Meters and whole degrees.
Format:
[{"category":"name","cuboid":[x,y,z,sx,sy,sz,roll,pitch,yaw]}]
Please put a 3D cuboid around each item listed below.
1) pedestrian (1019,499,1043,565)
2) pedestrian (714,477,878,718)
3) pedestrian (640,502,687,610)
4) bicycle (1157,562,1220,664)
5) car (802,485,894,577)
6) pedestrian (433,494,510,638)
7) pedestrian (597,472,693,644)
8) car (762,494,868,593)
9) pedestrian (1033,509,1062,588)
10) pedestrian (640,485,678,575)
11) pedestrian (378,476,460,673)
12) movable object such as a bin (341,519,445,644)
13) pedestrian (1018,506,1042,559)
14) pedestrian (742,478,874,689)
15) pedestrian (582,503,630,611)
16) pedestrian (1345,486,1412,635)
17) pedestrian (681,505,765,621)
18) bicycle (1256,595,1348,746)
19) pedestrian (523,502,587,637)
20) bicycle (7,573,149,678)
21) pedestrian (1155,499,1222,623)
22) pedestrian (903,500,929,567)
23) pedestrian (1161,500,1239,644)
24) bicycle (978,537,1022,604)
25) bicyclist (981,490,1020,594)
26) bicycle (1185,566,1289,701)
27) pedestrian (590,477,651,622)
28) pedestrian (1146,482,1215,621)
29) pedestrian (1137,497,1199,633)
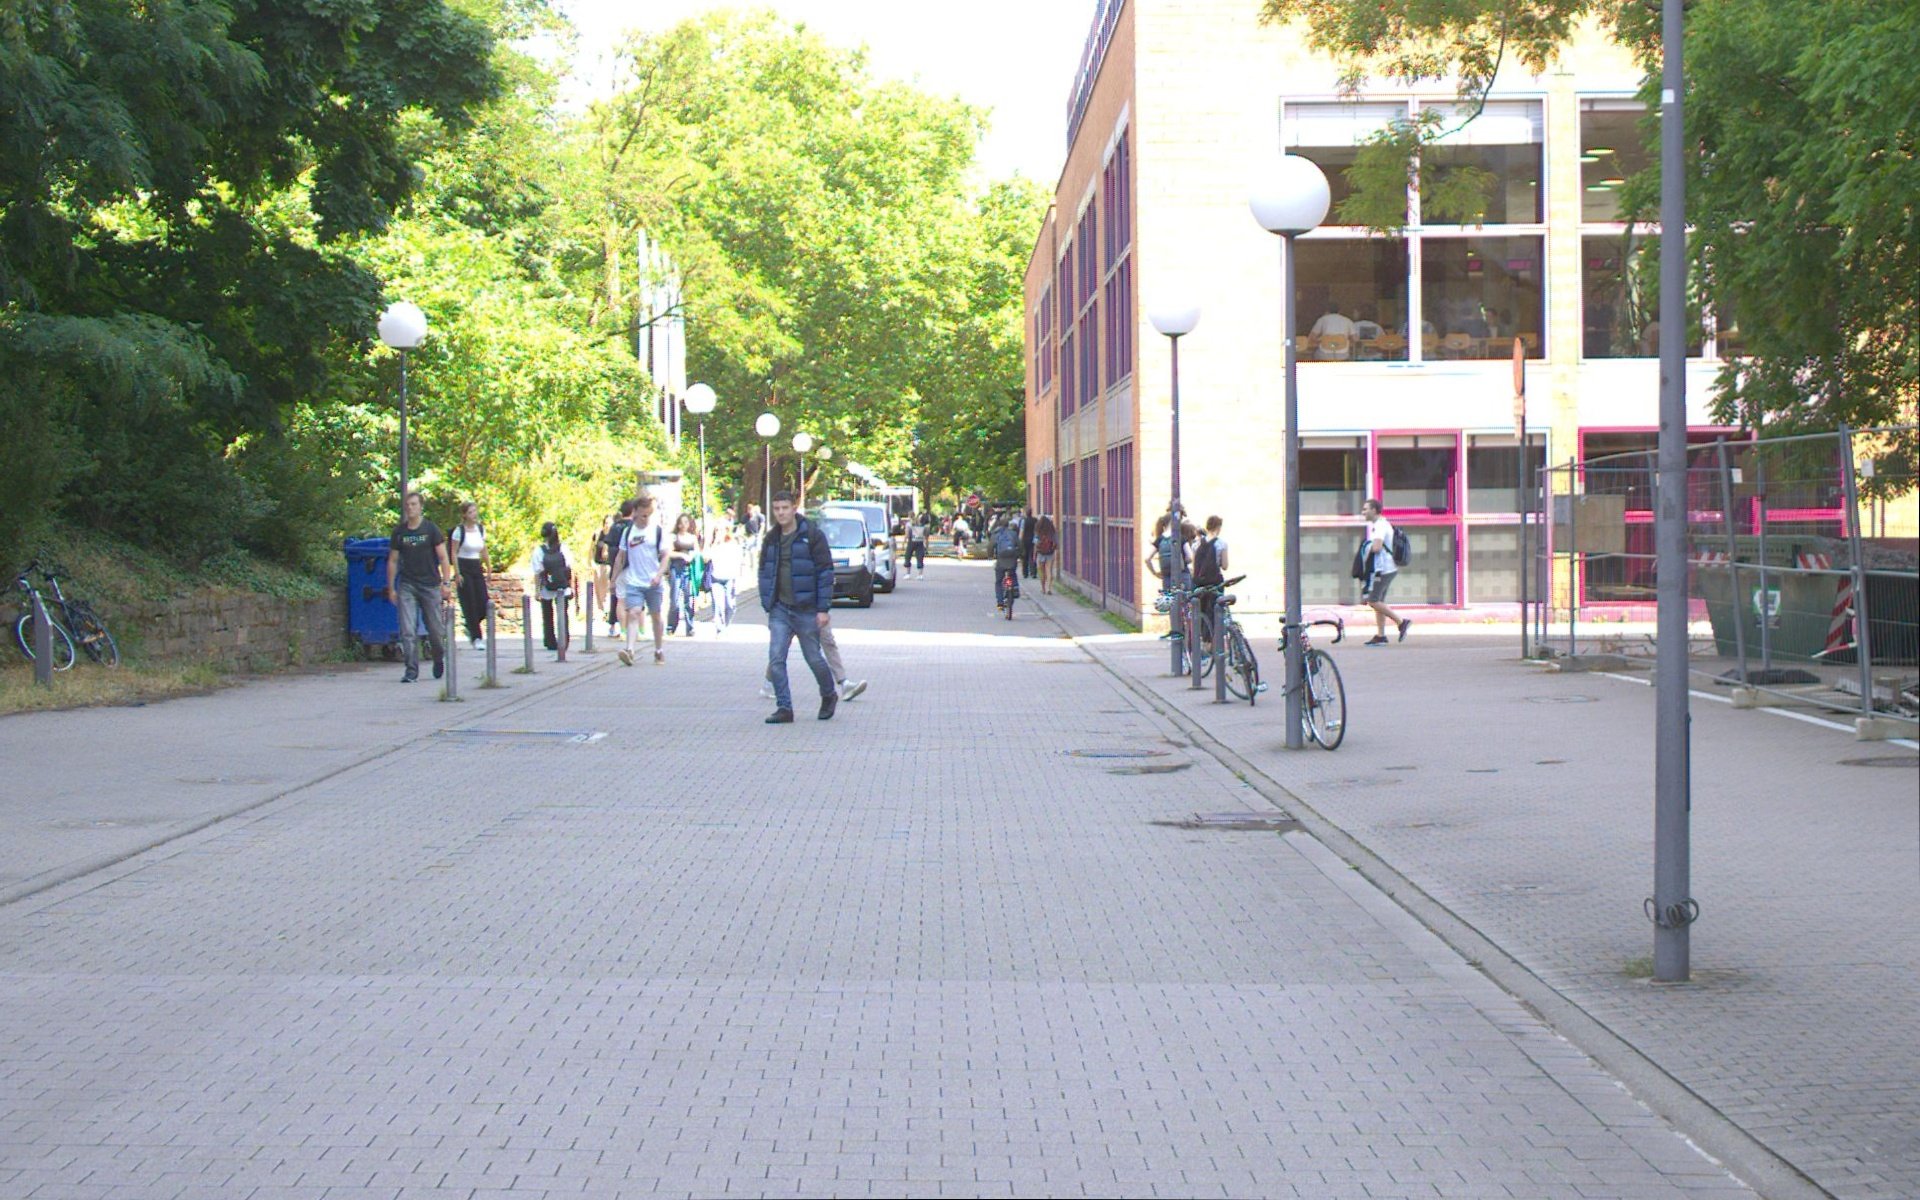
[{"category":"pedestrian","cuboid":[1.814,-1.745,88.102,0.586,1.667,0.817,-1,0,1]},{"category":"pedestrian","cuboid":[-1.290,-0.031,27.209,0.887,1.851,1.031,2,1,26]},{"category":"pedestrian","cuboid":[-4.479,-0.670,52.014,0.682,1.615,0.914,1,1,-5]},{"category":"bicycle","cuboid":[2.298,0.120,34.699,0.450,0.958,1.740,-3,1,-1]},{"category":"car","cuboid":[-2.426,-1.544,75.794,1.883,1.967,5.215,0,2,0]},{"category":"pedestrian","cuboid":[-5.913,-0.417,41.587,0.682,1.722,1.002,0,1,-22]},{"category":"pedestrian","cuboid":[-3.485,-0.470,38.128,0.724,1.875,1.082,1,1,14]},{"category":"car","cuboid":[-2.637,-1.066,63.505,1.790,1.755,4.482,0,2,0]},{"category":"pedestrian","cuboid":[1.891,-1.104,73.992,0.586,1.667,0.699,-1,0,1]},{"category":"pedestrian","cuboid":[-6.192,-1.431,70.751,0.682,1.838,0.783,1,0,0]},{"category":"pedestrian","cuboid":[-5.233,-0.248,33.313,0.682,1.866,1.121,1,1,-5]},{"category":"movable object such as a bin","cuboid":[-6.242,-0.214,37.891,0.709,1.332,1.239,3,2,10]},{"category":"pedestrian","cuboid":[2.236,-2.145,109.838,0.725,1.667,0.748,-1,0,1]},{"category":"pedestrian","cuboid":[-1.362,-0.158,30.650,0.783,1.839,1.118,1,1,-25]},{"category":"pedestrian","cuboid":[-5.341,-0.651,51.930,0.682,1.615,0.979,1,1,-5]},{"category":"pedestrian","cuboid":[5.109,-0.484,41.960,0.767,1.788,0.588,-1,0,7]},{"category":"pedestrian","cuboid":[-3.194,-0.498,46.287,0.740,1.537,0.889,1,0,-37]},{"category":"bicycle","cuboid":[2.315,0.462,23.389,0.395,0.932,1.732,-2,1,-1]},{"category":"pedestrian","cuboid":[-4.888,-0.366,41.465,0.569,1.605,0.918,0,1,-20]},{"category":"bicycle","cuboid":[-7.836,0.226,30.596,0.421,0.907,1.739,1,0,15]},{"category":"pedestrian","cuboid":[3.000,-0.514,45.183,0.780,1.615,0.685,1,0,-2]},{"category":"pedestrian","cuboid":[-1.119,-1.680,87.214,0.586,1.667,0.817,-1,0,1]},{"category":"pedestrian","cuboid":[2.783,-0.326,39.801,0.852,1.645,0.588,1,0,7]},{"category":"bicycle","cuboid":[0.664,-0.497,57.097,0.587,1.080,1.908,0,1,-4]},{"category":"bicyclist","cuboid":[0.666,-0.967,57.052,0.587,1.710,0.665,0,1,-4]},{"category":"bicycle","cuboid":[2.338,0.267,29.192,0.708,1.089,1.749,0,1,-1]},{"category":"pedestrian","cuboid":[-4.378,-0.652,44.362,0.682,1.838,0.783,1,0,0]},{"category":"pedestrian","cuboid":[2.952,-0.650,46.013,0.825,1.838,0.685,1,0,-2]},{"category":"pedestrian","cuboid":[2.606,-0.438,43.034,0.697,1.667,0.588,-1,0,7]}]
